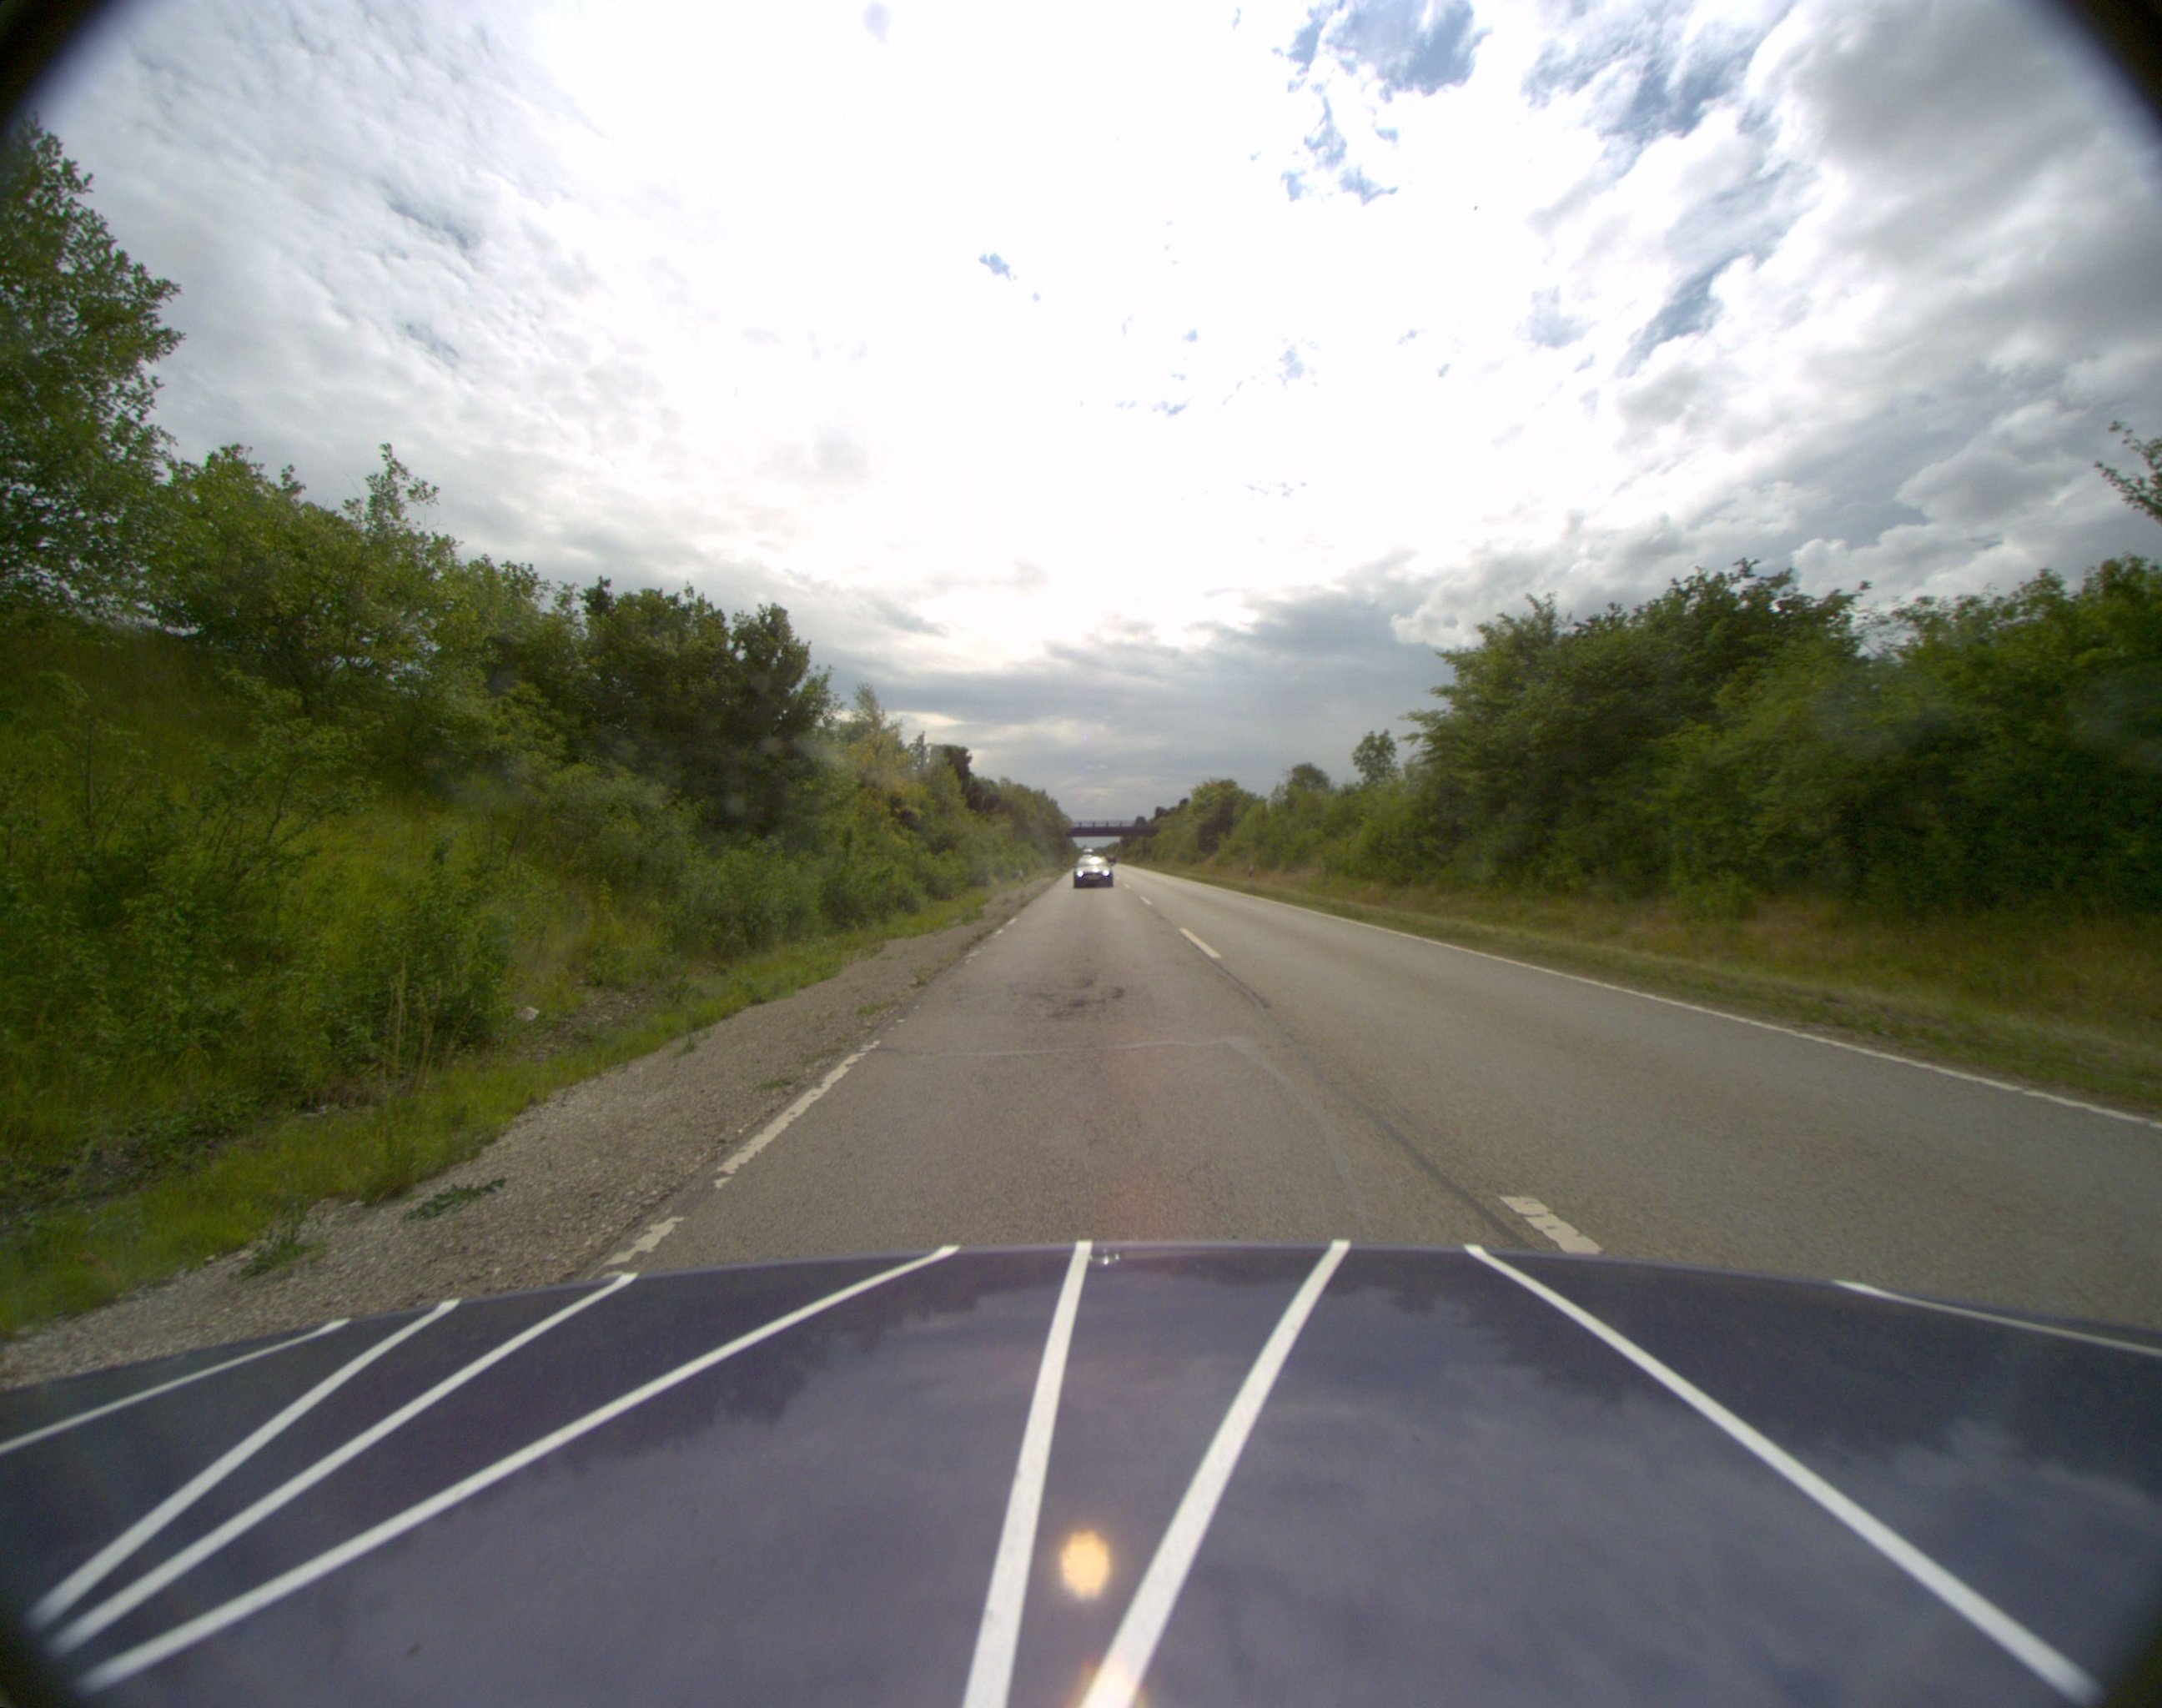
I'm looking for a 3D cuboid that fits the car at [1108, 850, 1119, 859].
[{"bbox_3d":[5.515,0.008,129.228,1.833,1.456,4.411,-2,0,1],"label":"car"}]

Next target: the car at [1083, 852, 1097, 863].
[{"bbox_3d":[1.323,0.525,111.576,1.870,1.597,3.999,-1,1,0],"label":"car"}]

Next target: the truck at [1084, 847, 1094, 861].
[{"bbox_3d":[1.507,-0.081,142.215,1.802,2.518,6.685,-2,1,1],"label":"truck"}]

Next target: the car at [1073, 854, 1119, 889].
[{"bbox_3d":[0.684,0.770,35.612,1.998,1.436,4.640,-2,1,1],"label":"car"}]
